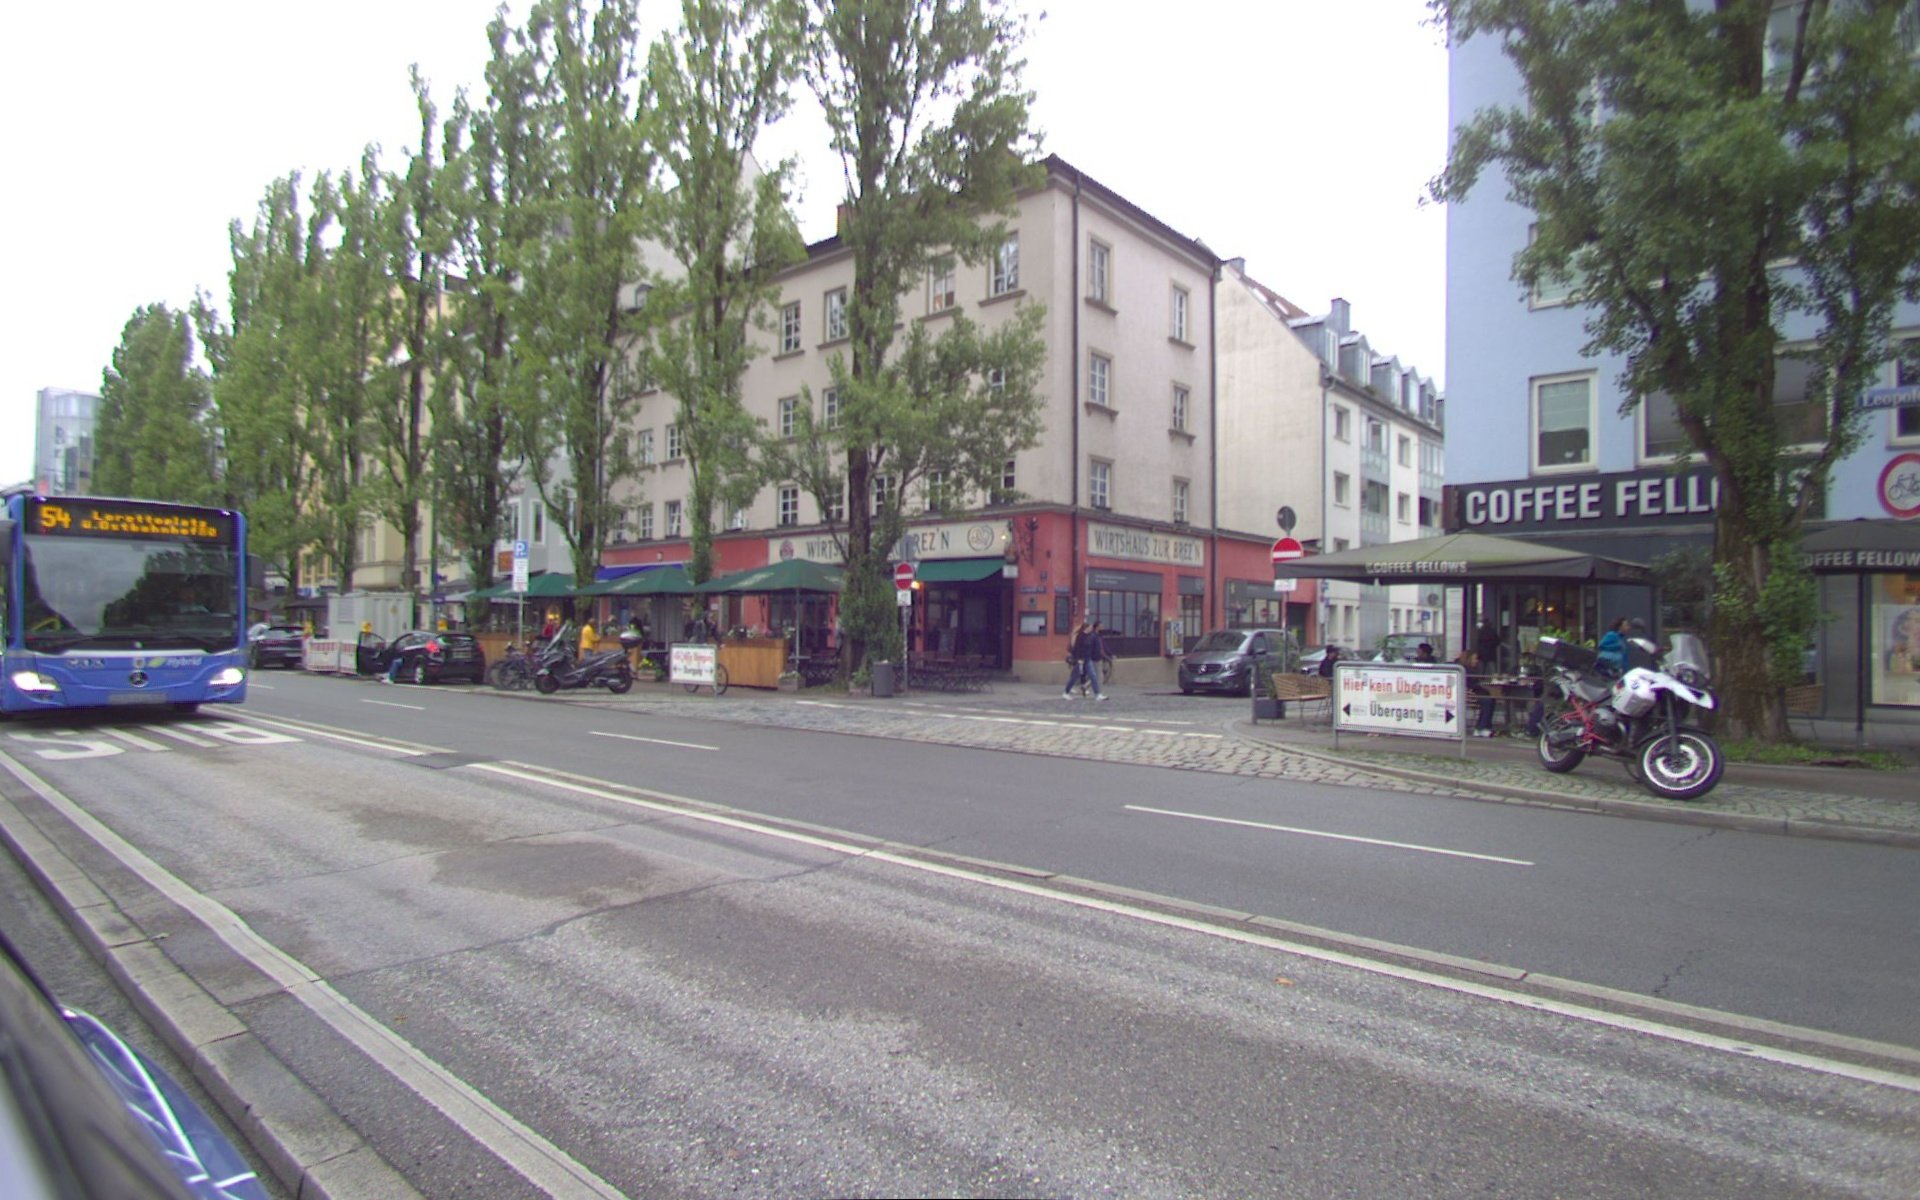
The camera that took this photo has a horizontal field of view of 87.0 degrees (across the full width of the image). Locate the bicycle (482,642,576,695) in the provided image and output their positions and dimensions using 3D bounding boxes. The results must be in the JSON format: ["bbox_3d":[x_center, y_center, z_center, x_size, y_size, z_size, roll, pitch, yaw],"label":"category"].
[{"bbox_3d":[-9.765,1.541,22.964,1.949,1.134,0.283,-1,0,-12],"label":"bicycle"}]

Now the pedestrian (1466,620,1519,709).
[{"bbox_3d":[10.968,1.305,20.881,0.692,1.786,0.947,0,-2,10],"label":"pedestrian"}]

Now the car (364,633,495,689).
[{"bbox_3d":[-14.526,1.628,27.642,3.780,1.433,1.739,-1,-3,38],"label":"car"}]

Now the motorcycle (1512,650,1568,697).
[{"bbox_3d":[15.959,1.993,27.799,0.738,1.213,2.729,-4,-5,42],"label":"motorcycle"}]

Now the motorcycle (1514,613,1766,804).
[{"bbox_3d":[6.268,0.917,9.546,0.704,1.575,2.348,0,-1,-2],"label":"motorcycle"}]

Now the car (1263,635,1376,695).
[{"bbox_3d":[11.684,2.088,32.712,1.982,1.780,4.525,-1,-4,40],"label":"car"}]

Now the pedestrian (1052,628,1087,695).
[{"bbox_3d":[2.710,1.505,24.995,0.726,1.636,0.696,0,-2,18],"label":"pedestrian"}]

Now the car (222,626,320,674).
[{"bbox_3d":[-24.723,1.764,36.253,4.572,1.625,1.778,-1,-3,42],"label":"car"}]

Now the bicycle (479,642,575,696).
[{"bbox_3d":[-9.670,1.533,22.636,1.949,1.134,0.362,-1,0,-12],"label":"bicycle"}]

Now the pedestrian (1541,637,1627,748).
[{"bbox_3d":[8.131,1.176,13.186,0.847,1.373,0.690,-1,-3,40],"label":"pedestrian"}]

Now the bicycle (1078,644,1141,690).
[{"bbox_3d":[4.113,1.806,27.705,0.645,1.214,2.317,-1,-3,39],"label":"bicycle"}]

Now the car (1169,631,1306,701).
[{"bbox_3d":[7.823,1.807,28.206,1.982,1.780,4.525,-1,-4,40],"label":"car"}]

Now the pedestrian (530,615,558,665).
[{"bbox_3d":[-16.289,1.554,39.649,0.905,1.941,0.690,-2,-3,44],"label":"pedestrian"}]

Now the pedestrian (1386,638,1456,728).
[{"bbox_3d":[7.286,1.287,16.006,0.819,1.373,0.690,-2,-3,44],"label":"pedestrian"}]

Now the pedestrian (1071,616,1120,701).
[{"bbox_3d":[3.151,1.355,23.618,0.905,1.941,0.690,-2,-3,44],"label":"pedestrian"}]

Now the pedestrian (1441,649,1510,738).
[{"bbox_3d":[7.266,1.292,14.270,0.699,1.192,0.807,-1,-3,39],"label":"pedestrian"}]

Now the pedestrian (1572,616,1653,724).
[{"bbox_3d":[10.425,1.101,16.178,0.950,1.659,0.690,-2,-3,44],"label":"pedestrian"}]

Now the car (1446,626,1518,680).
[{"bbox_3d":[24.635,2.505,47.705,1.982,2.384,4.523,-2,-4,42],"label":"car"}]

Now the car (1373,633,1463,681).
[{"bbox_3d":[18.224,2.260,40.201,2.116,1.780,4.525,-1,-4,40],"label":"car"}]

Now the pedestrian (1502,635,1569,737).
[{"bbox_3d":[8.080,1.182,14.210,0.699,1.373,0.706,-1,-3,39],"label":"pedestrian"}]

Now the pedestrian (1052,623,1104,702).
[{"bbox_3d":[2.671,1.401,22.918,0.950,1.735,0.690,-2,-3,44],"label":"pedestrian"}]

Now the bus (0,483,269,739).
[{"bbox_3d":[-14.076,0.240,16.045,10.046,2.972,2.661,-1,-2,41],"label":"bus"}]

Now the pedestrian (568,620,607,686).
[{"bbox_3d":[-9.983,1.416,27.136,0.699,1.739,0.722,-1,-3,40],"label":"pedestrian"}]

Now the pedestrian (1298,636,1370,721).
[{"bbox_3d":[6.305,1.299,17.075,0.950,1.373,0.690,-2,-3,44],"label":"pedestrian"}]

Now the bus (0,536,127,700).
[{"bbox_3d":[-20.868,0.421,21.956,10.046,2.972,2.655,-1,-2,41],"label":"bus"}]

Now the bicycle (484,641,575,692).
[{"bbox_3d":[-10.153,1.558,23.925,1.949,1.134,0.343,-1,0,-12],"label":"bicycle"}]

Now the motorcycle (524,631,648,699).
[{"bbox_3d":[-8.009,1.376,21.704,2.426,1.425,0.744,0,-2,8],"label":"motorcycle"}]

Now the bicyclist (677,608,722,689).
[{"bbox_3d":[-5.657,1.044,21.984,0.816,1.718,0.598,-1,-2,42],"label":"bicyclist"}]

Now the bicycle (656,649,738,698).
[{"bbox_3d":[-5.749,1.581,22.050,2.173,0.976,0.605,-1,-2,42],"label":"bicycle"}]

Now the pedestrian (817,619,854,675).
[{"bbox_3d":[-3.745,1.395,30.430,0.689,1.659,0.930,2,-3,-44],"label":"pedestrian"}]

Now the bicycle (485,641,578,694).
[{"bbox_3d":[-9.825,1.542,23.242,1.949,1.134,0.283,-1,0,-12],"label":"bicycle"}]

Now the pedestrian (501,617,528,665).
[{"bbox_3d":[-18.292,1.680,41.573,0.905,1.941,0.690,-2,-3,44],"label":"pedestrian"}]

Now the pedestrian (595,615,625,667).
[{"bbox_3d":[-13.156,1.528,38.026,0.905,1.941,0.690,-2,-3,44],"label":"pedestrian"}]
